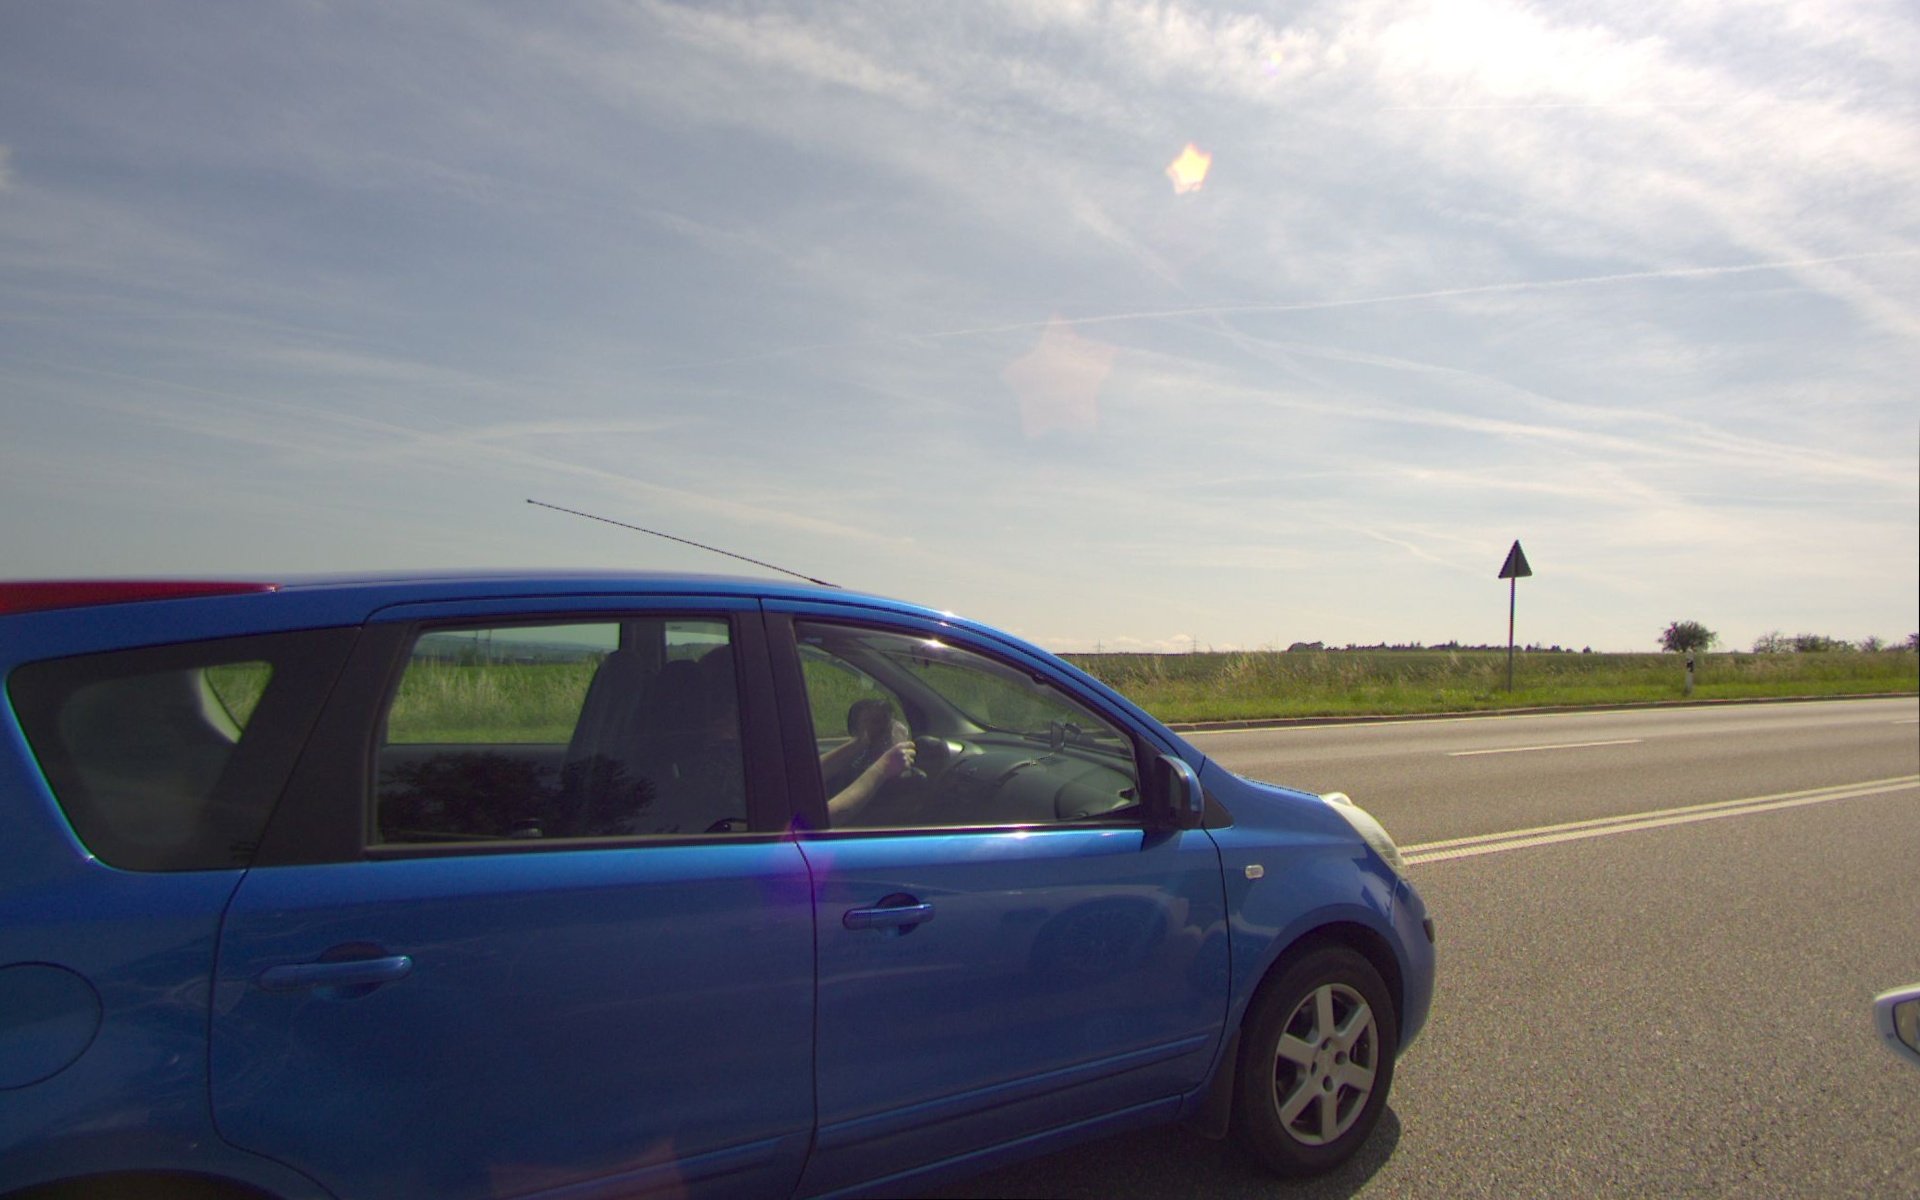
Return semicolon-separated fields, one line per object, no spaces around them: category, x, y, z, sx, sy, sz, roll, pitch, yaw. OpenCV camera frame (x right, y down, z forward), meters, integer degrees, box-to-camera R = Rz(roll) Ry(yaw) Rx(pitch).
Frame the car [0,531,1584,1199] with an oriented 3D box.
car;-0.109;0.728;2.915;3.868;1.551;1.624;2;-1;-30
